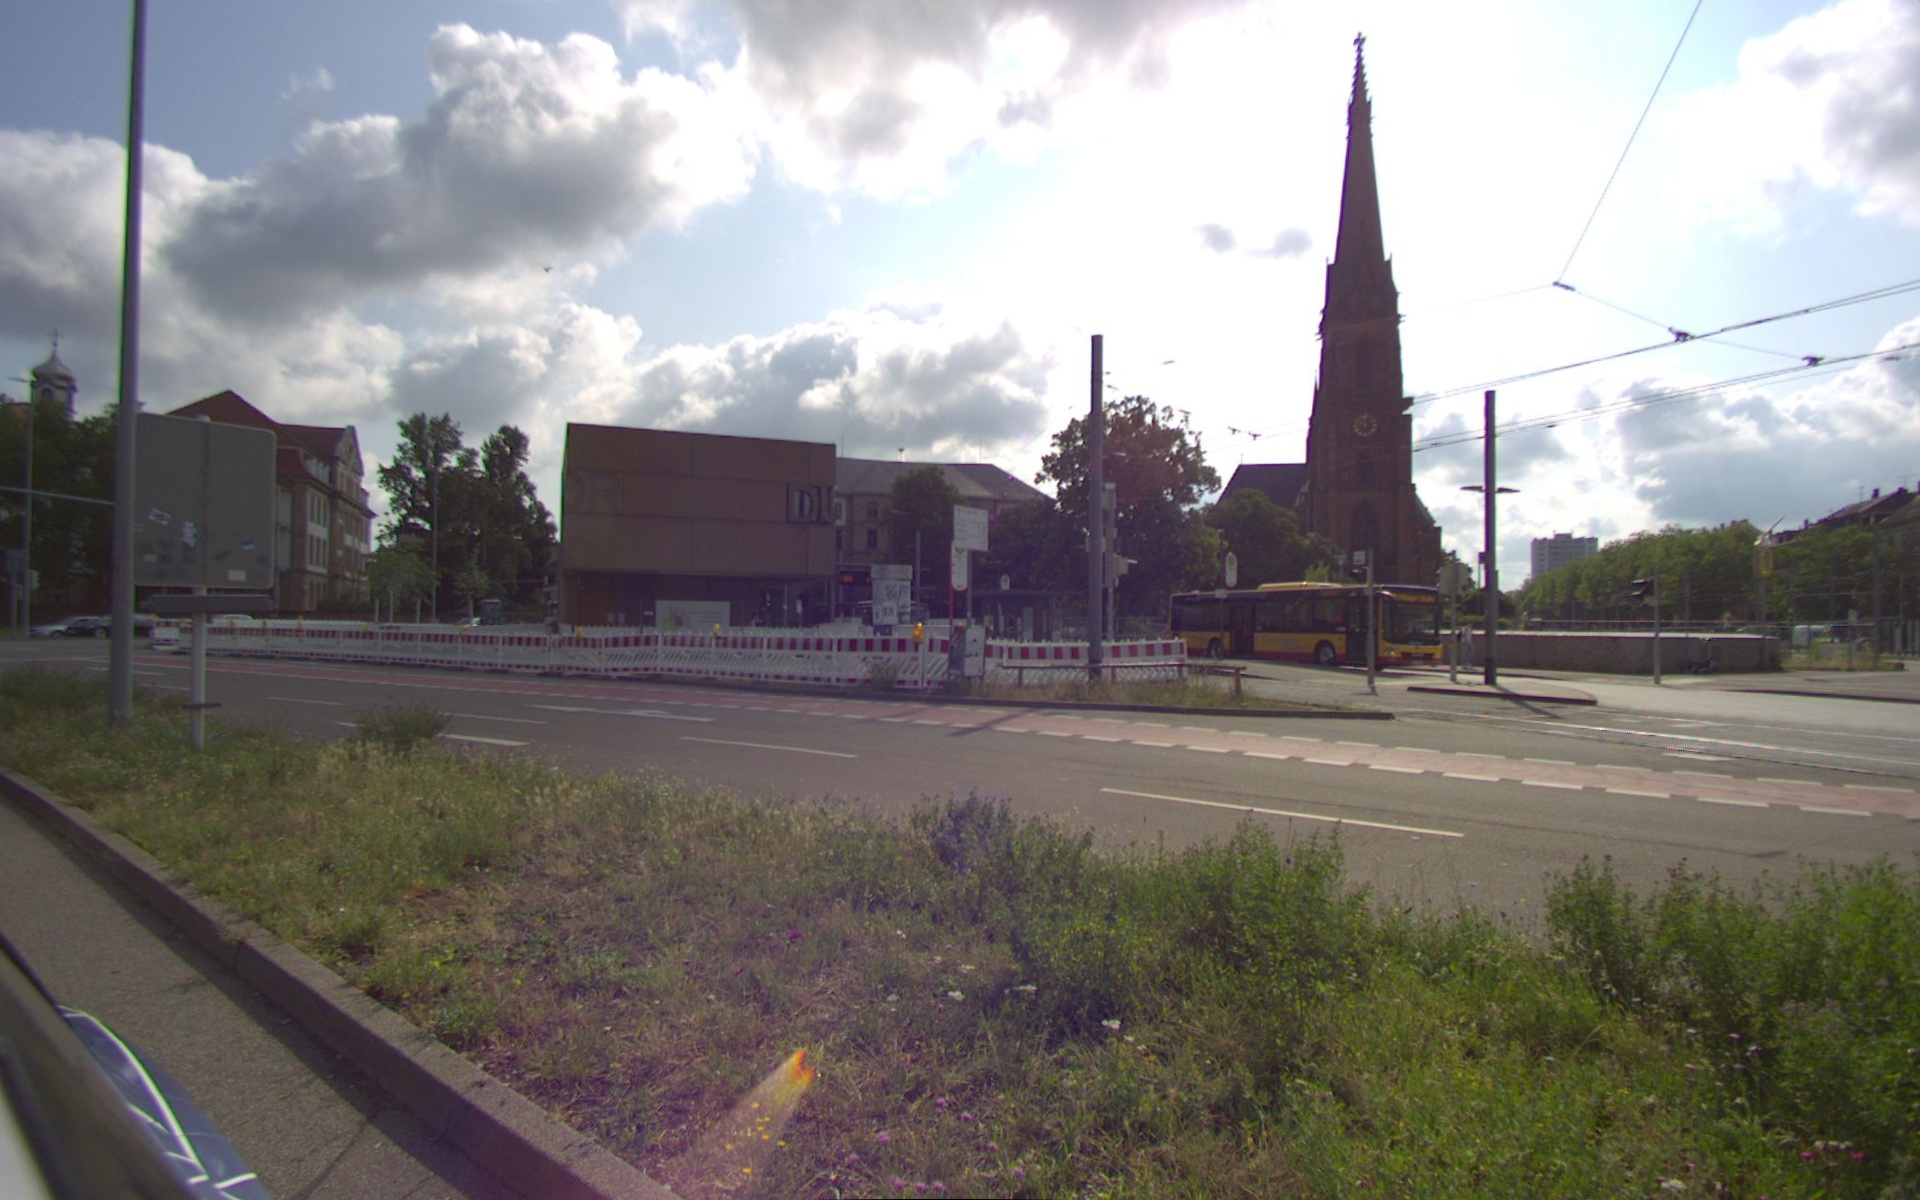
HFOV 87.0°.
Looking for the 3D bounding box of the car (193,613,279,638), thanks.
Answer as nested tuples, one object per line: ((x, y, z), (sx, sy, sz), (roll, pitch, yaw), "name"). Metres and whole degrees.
((-43.671, 1.565, 61.152), (1.741, 1.401, 4.115), (-1, -2, 11), "car")

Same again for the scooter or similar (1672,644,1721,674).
((24.267, 1.926, 33.336), (1.635, 0.957, 0.475), (1, -2, -20), "scooter or similar")

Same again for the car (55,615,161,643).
((-45.154, 1.558, 53.759), (1.741, 1.401, 4.115), (-1, -2, 11), "car")

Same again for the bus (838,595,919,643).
((-6.743, 1.579, 81.478), (2.913, 3.534, 12.293), (1, -2, -22), "bus")

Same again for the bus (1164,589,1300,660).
((10.669, 0.976, 40.158), (2.655, 2.607, 5.094), (1, -2, -22), "bus")

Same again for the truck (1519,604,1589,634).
((76.092, 2.425, 129.794), (7.389, 3.676, 2.456), (0, -2, 19), "truck")

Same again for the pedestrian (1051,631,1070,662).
((5.261, 2.418, 53.119), (0.654, 1.617, 0.740), (1, -3, -42), "pedestrian")

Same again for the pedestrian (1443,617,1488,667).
((18.884, 1.563, 37.804), (0.914, 1.701, 1.101), (-5, 3, -24), "pedestrian")

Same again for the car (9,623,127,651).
((-51.138, 2.126, 58.165), (1.984, 1.581, 4.752), (-1, -2, 19), "car")

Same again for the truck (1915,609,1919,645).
((89.314, 2.486, 90.676), (3.162, 3.311, 7.236), (-2, -1, 25), "truck")

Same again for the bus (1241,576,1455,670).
((12.942, 0.779, 34.510), (2.653, 2.855, 7.123), (1, -2, -22), "bus")
